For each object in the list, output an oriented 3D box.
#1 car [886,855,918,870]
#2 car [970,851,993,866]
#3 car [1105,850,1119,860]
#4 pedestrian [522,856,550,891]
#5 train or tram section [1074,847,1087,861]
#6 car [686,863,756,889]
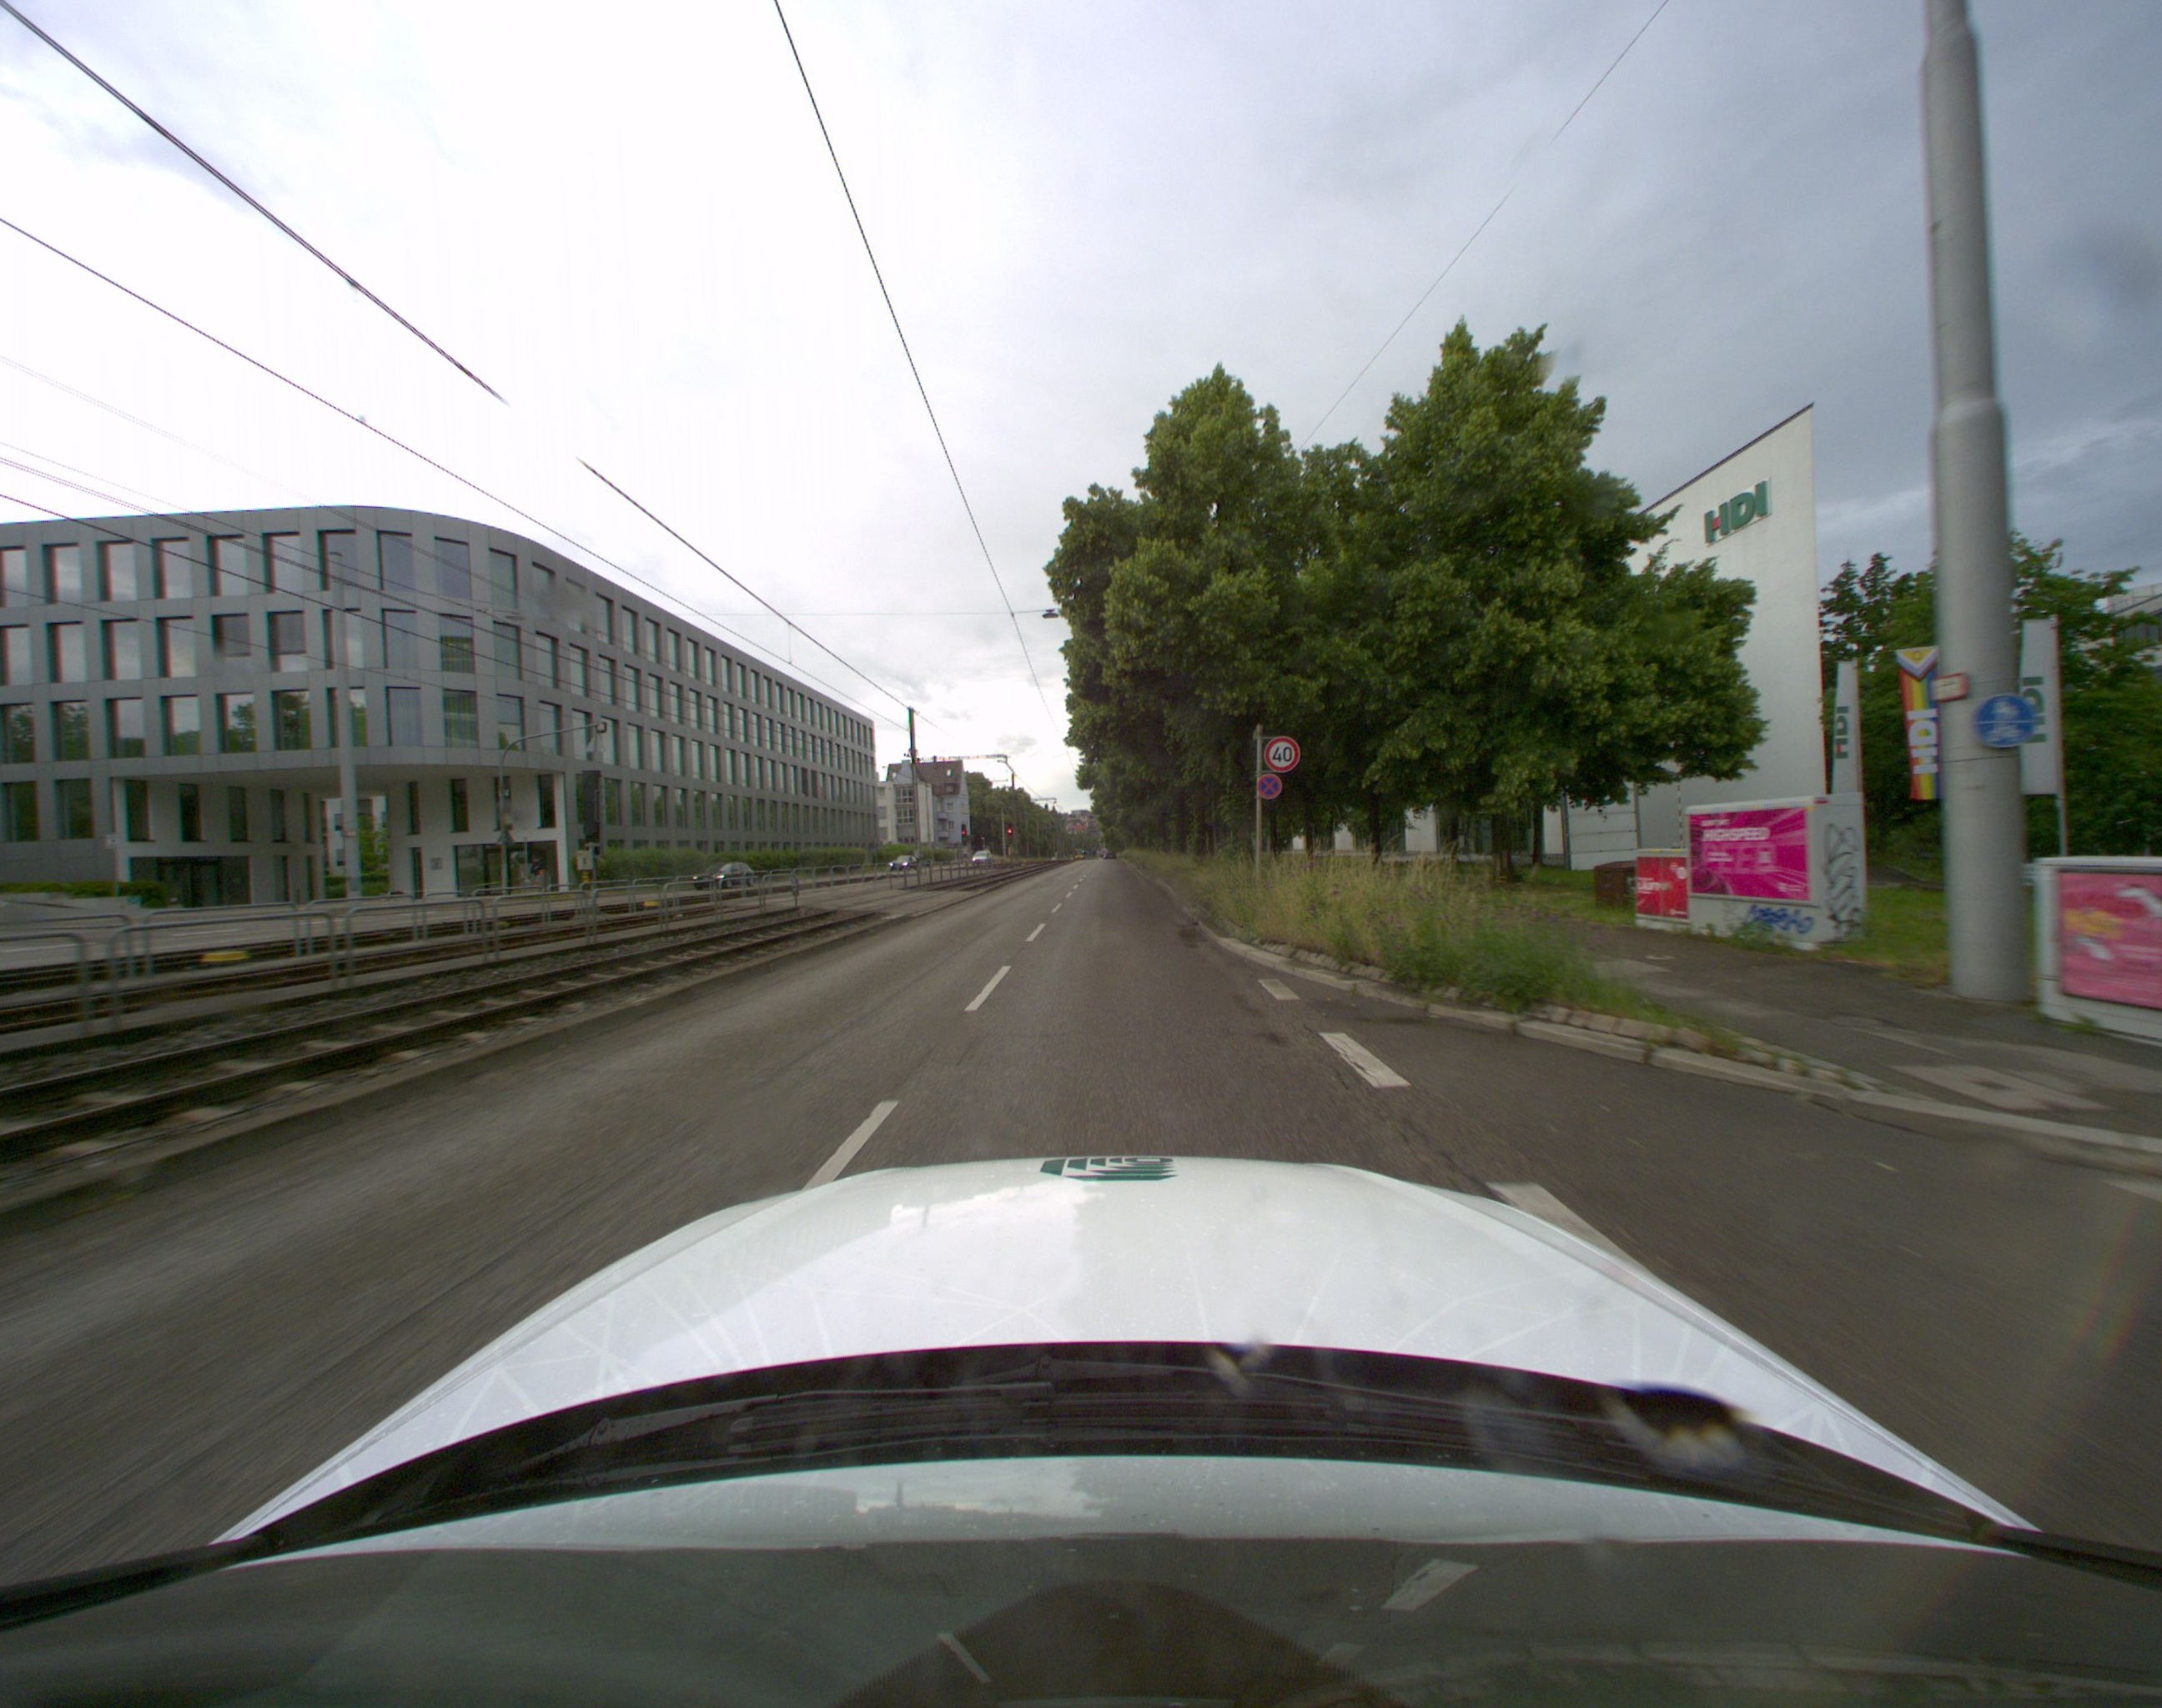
[{"bbox_3d":[-16.877,0.782,76.964,1.791,1.347,4.261,-2,0,2],"label":"car"},{"bbox_3d":[-12.118,0.533,99.701,1.894,1.645,4.889,-2,0,3],"label":"car"},{"bbox_3d":[4.780,0.094,124.394,1.974,1.440,4.476,-2,0,2],"label":"car"},{"bbox_3d":[-26.212,0.916,39.192,0.721,1.648,0.846,-1,-1,2],"label":"pedestrian"},{"bbox_3d":[-0.104,0.062,252.172,3.200,3.796,14.802,-2,-1,4],"label":"train or tram section"},{"bbox_3d":[-18.961,1.131,43.052,1.749,1.244,3.990,-2,0,2],"label":"car"}]
